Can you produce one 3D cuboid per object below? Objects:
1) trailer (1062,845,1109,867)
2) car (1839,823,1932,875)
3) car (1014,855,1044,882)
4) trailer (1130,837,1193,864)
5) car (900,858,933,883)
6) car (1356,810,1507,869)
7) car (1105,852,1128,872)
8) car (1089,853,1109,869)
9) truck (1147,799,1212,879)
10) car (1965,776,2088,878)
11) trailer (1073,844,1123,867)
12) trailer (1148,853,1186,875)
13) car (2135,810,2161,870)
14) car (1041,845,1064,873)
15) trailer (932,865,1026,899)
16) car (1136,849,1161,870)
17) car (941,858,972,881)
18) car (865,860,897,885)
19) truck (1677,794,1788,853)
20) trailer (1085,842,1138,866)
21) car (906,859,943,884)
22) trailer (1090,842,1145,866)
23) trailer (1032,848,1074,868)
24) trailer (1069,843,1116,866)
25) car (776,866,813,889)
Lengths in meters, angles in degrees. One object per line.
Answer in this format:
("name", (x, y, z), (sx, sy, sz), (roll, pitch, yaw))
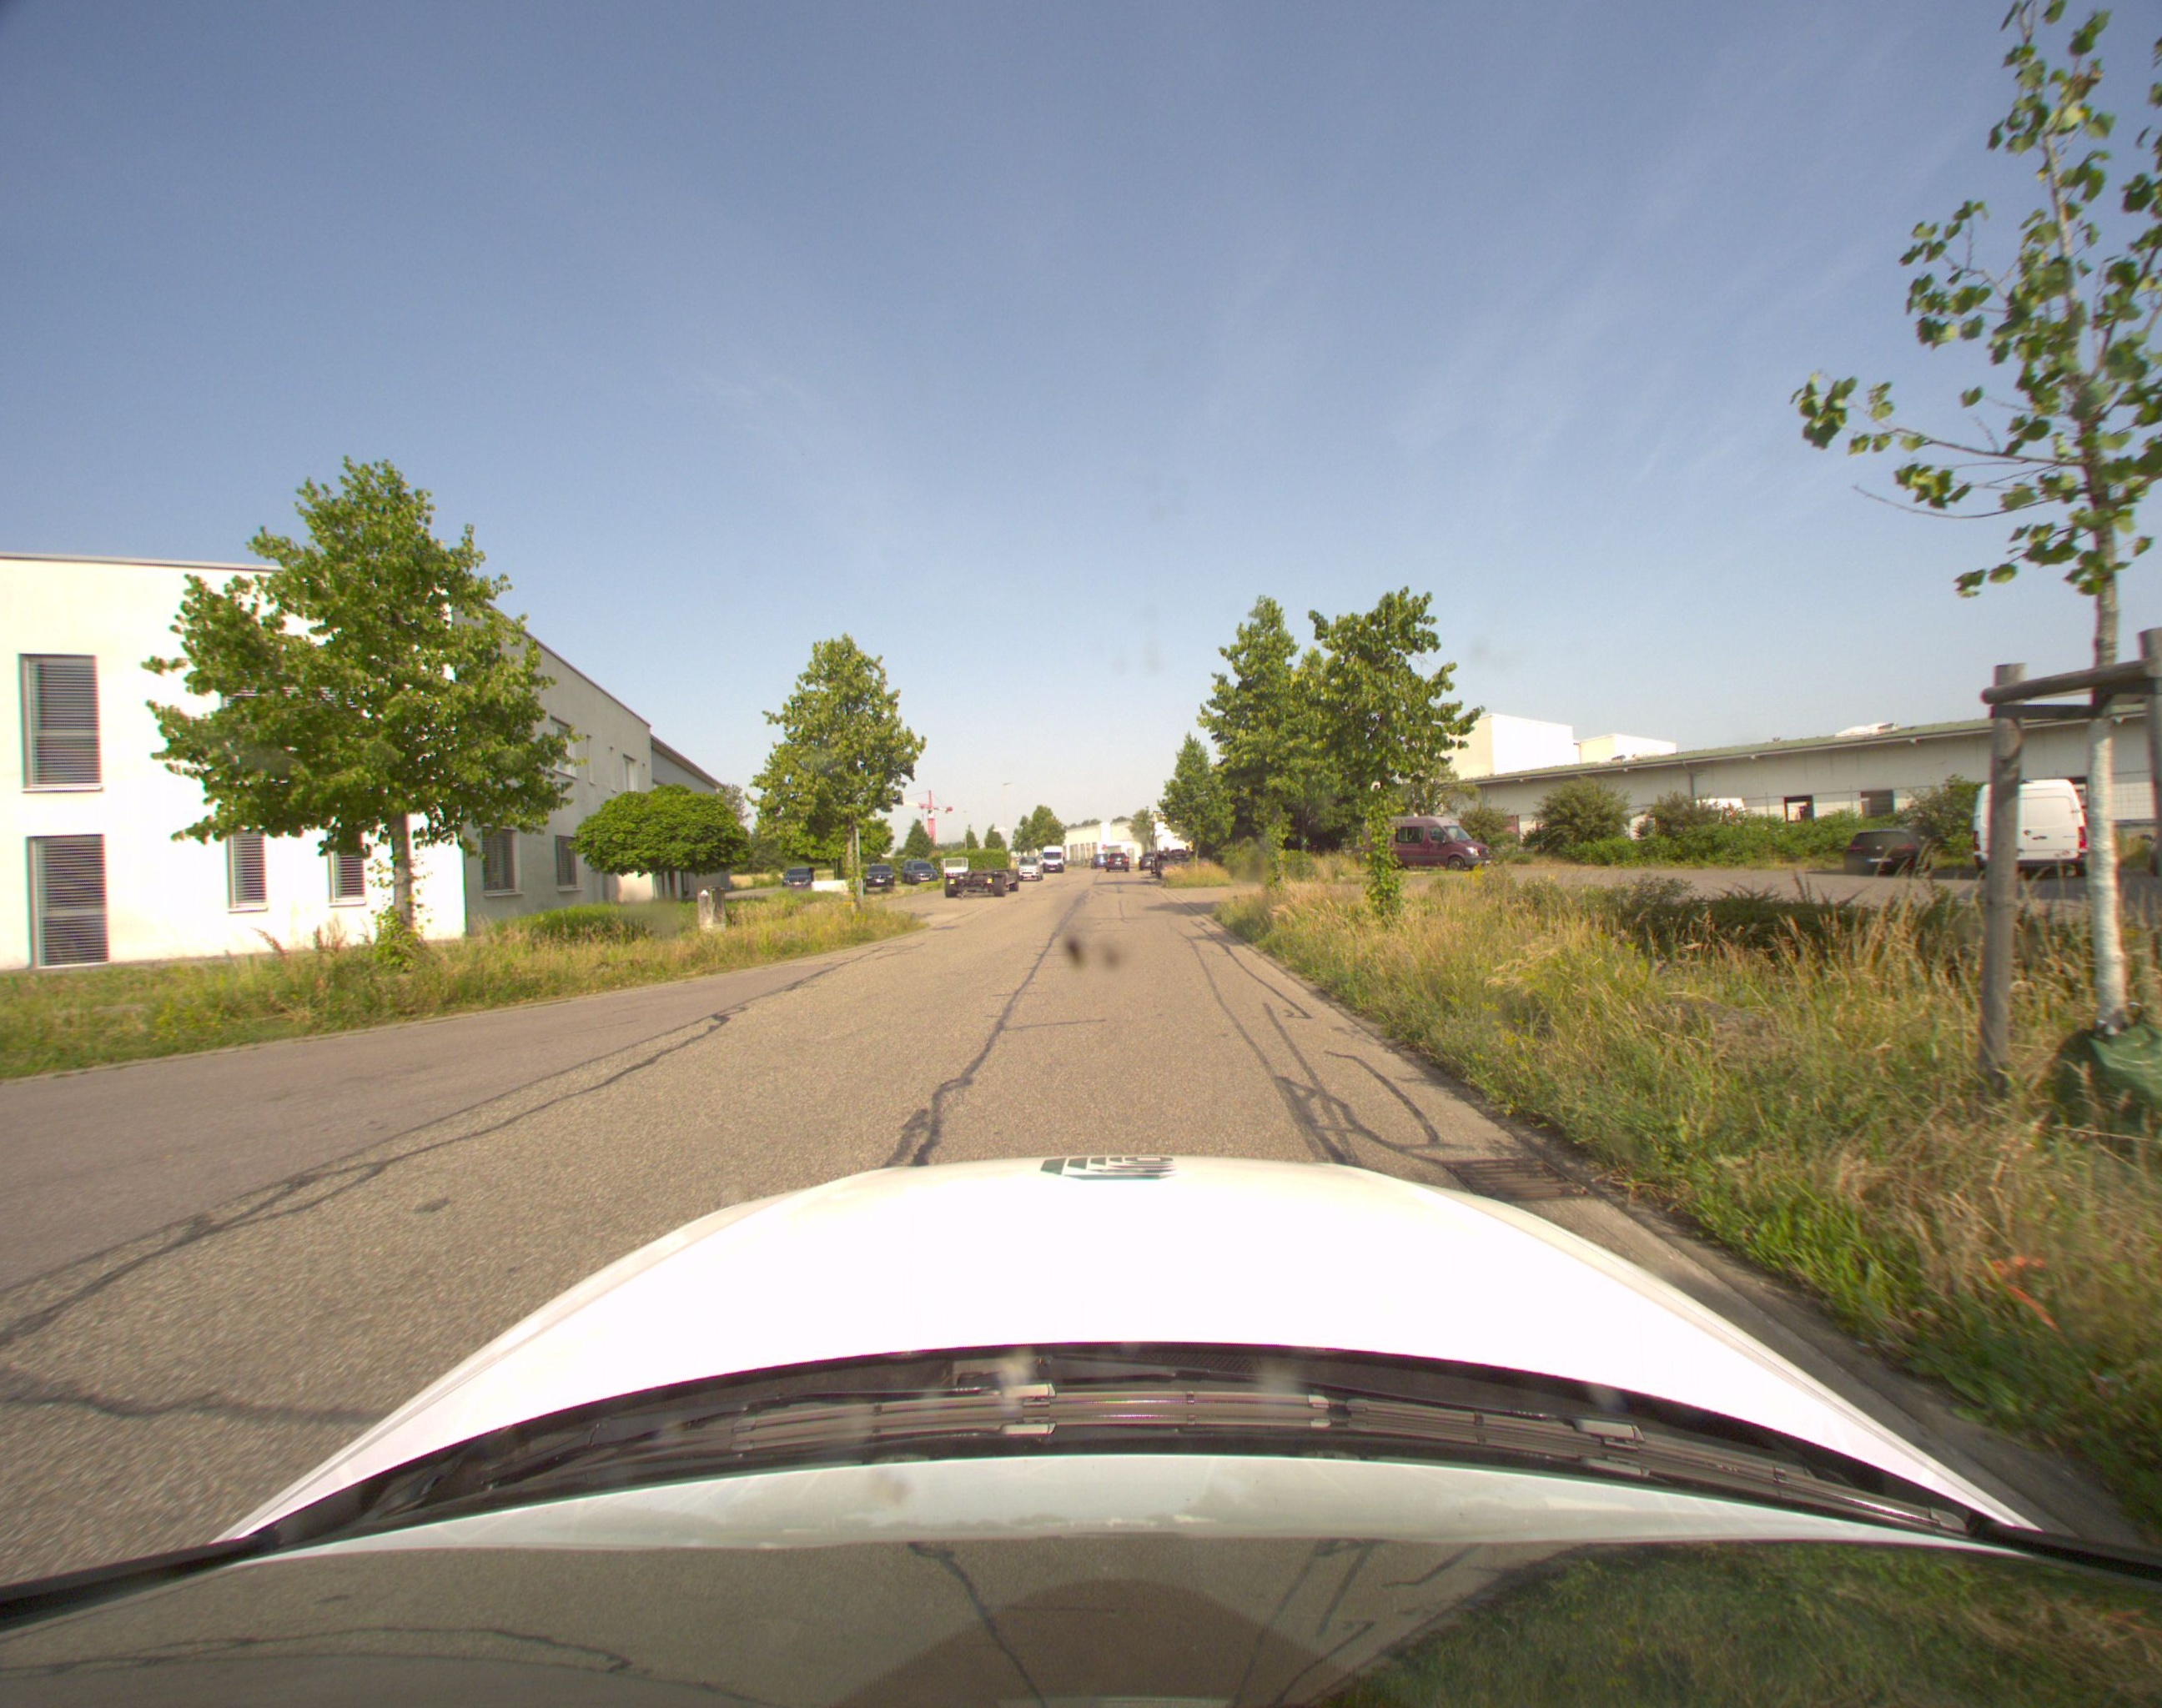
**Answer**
("trailer", (0.821, 0.311, 148.741), (7.994, 3.894, 2.755), (0, -1, -22))
("car", (25.867, -0.193, 26.160), (3.750, 1.471, 1.739), (-3, 1, -39))
("car", (-3.418, 0.909, 53.991), (1.591, 1.651, 3.646), (-3, 0, 2))
("trailer", (11.812, -0.501, 119.603), (8.766, 3.761, 2.770), (-2, -1, -22))
("car", (-11.700, 1.168, 57.718), (1.993, 1.658, 4.398), (-2, 0, -15))
("car", (16.307, -0.595, 38.199), (2.588, 2.525, 5.978), (0, -1, -39))
("car", (3.023, 0.678, 70.056), (1.873, 1.586, 4.115), (-3, -1, 2))
("car", (1.978, 0.774, 88.010), (1.961, 1.574, 4.115), (-3, -1, 2))
("truck", (5.457, -0.779, 46.006), (2.683, 3.964, 6.047), (-5, 0, 0))
("car", (27.153, -0.736, 23.346), (6.594, 2.525, 1.983), (-2, -1, -39))
("trailer", (2.895, 0.244, 142.147), (8.340, 3.894, 2.755), (0, -1, -22))
("trailer", (5.650, 0.618, 54.184), (1.931, 1.235, 7.455), (-4, 0, 2))
("car", (27.799, -0.345, 20.342), (3.458, 1.471, 1.684), (0, -1, -39))
("car", (-2.677, 0.513, 78.794), (2.096, 2.595, 6.501), (0, 0, -1))
("trailer", (-4.245, 1.140, 35.969), (2.536, 1.074, 9.737), (-1, 0, 2))
("car", (5.758, 0.478, 70.039), (1.873, 1.574, 4.115), (-4, -1, 2))
("car", (-8.905, 1.094, 57.949), (1.836, 1.572, 3.797), (-1, -1, -15))
("car", (-12.778, 1.183, 52.005), (1.683, 1.476, 4.325), (-2, 0, -17))
("truck", (35.473, -1.592, 44.198), (8.803, 2.840, 2.758), (-1, -2, -39))
("trailer", (5.152, 0.049, 136.567), (8.569, 3.894, 2.755), (0, -1, -22))
("car", (-10.136, 1.091, 52.482), (1.979, 1.476, 4.398), (-2, 0, -15))
("trailer", (5.988, -0.034, 133.532), (8.569, 3.894, 2.755), (0, -1, -22))
("trailer", (-5.713, 0.780, 166.476), (7.994, 3.894, 2.755), (0, -1, -22))
("trailer", (2.098, 0.091, 146.066), (8.064, 3.894, 2.755), (0, -1, -22))
("car", (-17.722, 1.431, 50.562), (1.994, 1.324, 4.325), (-2, 0, -17))
